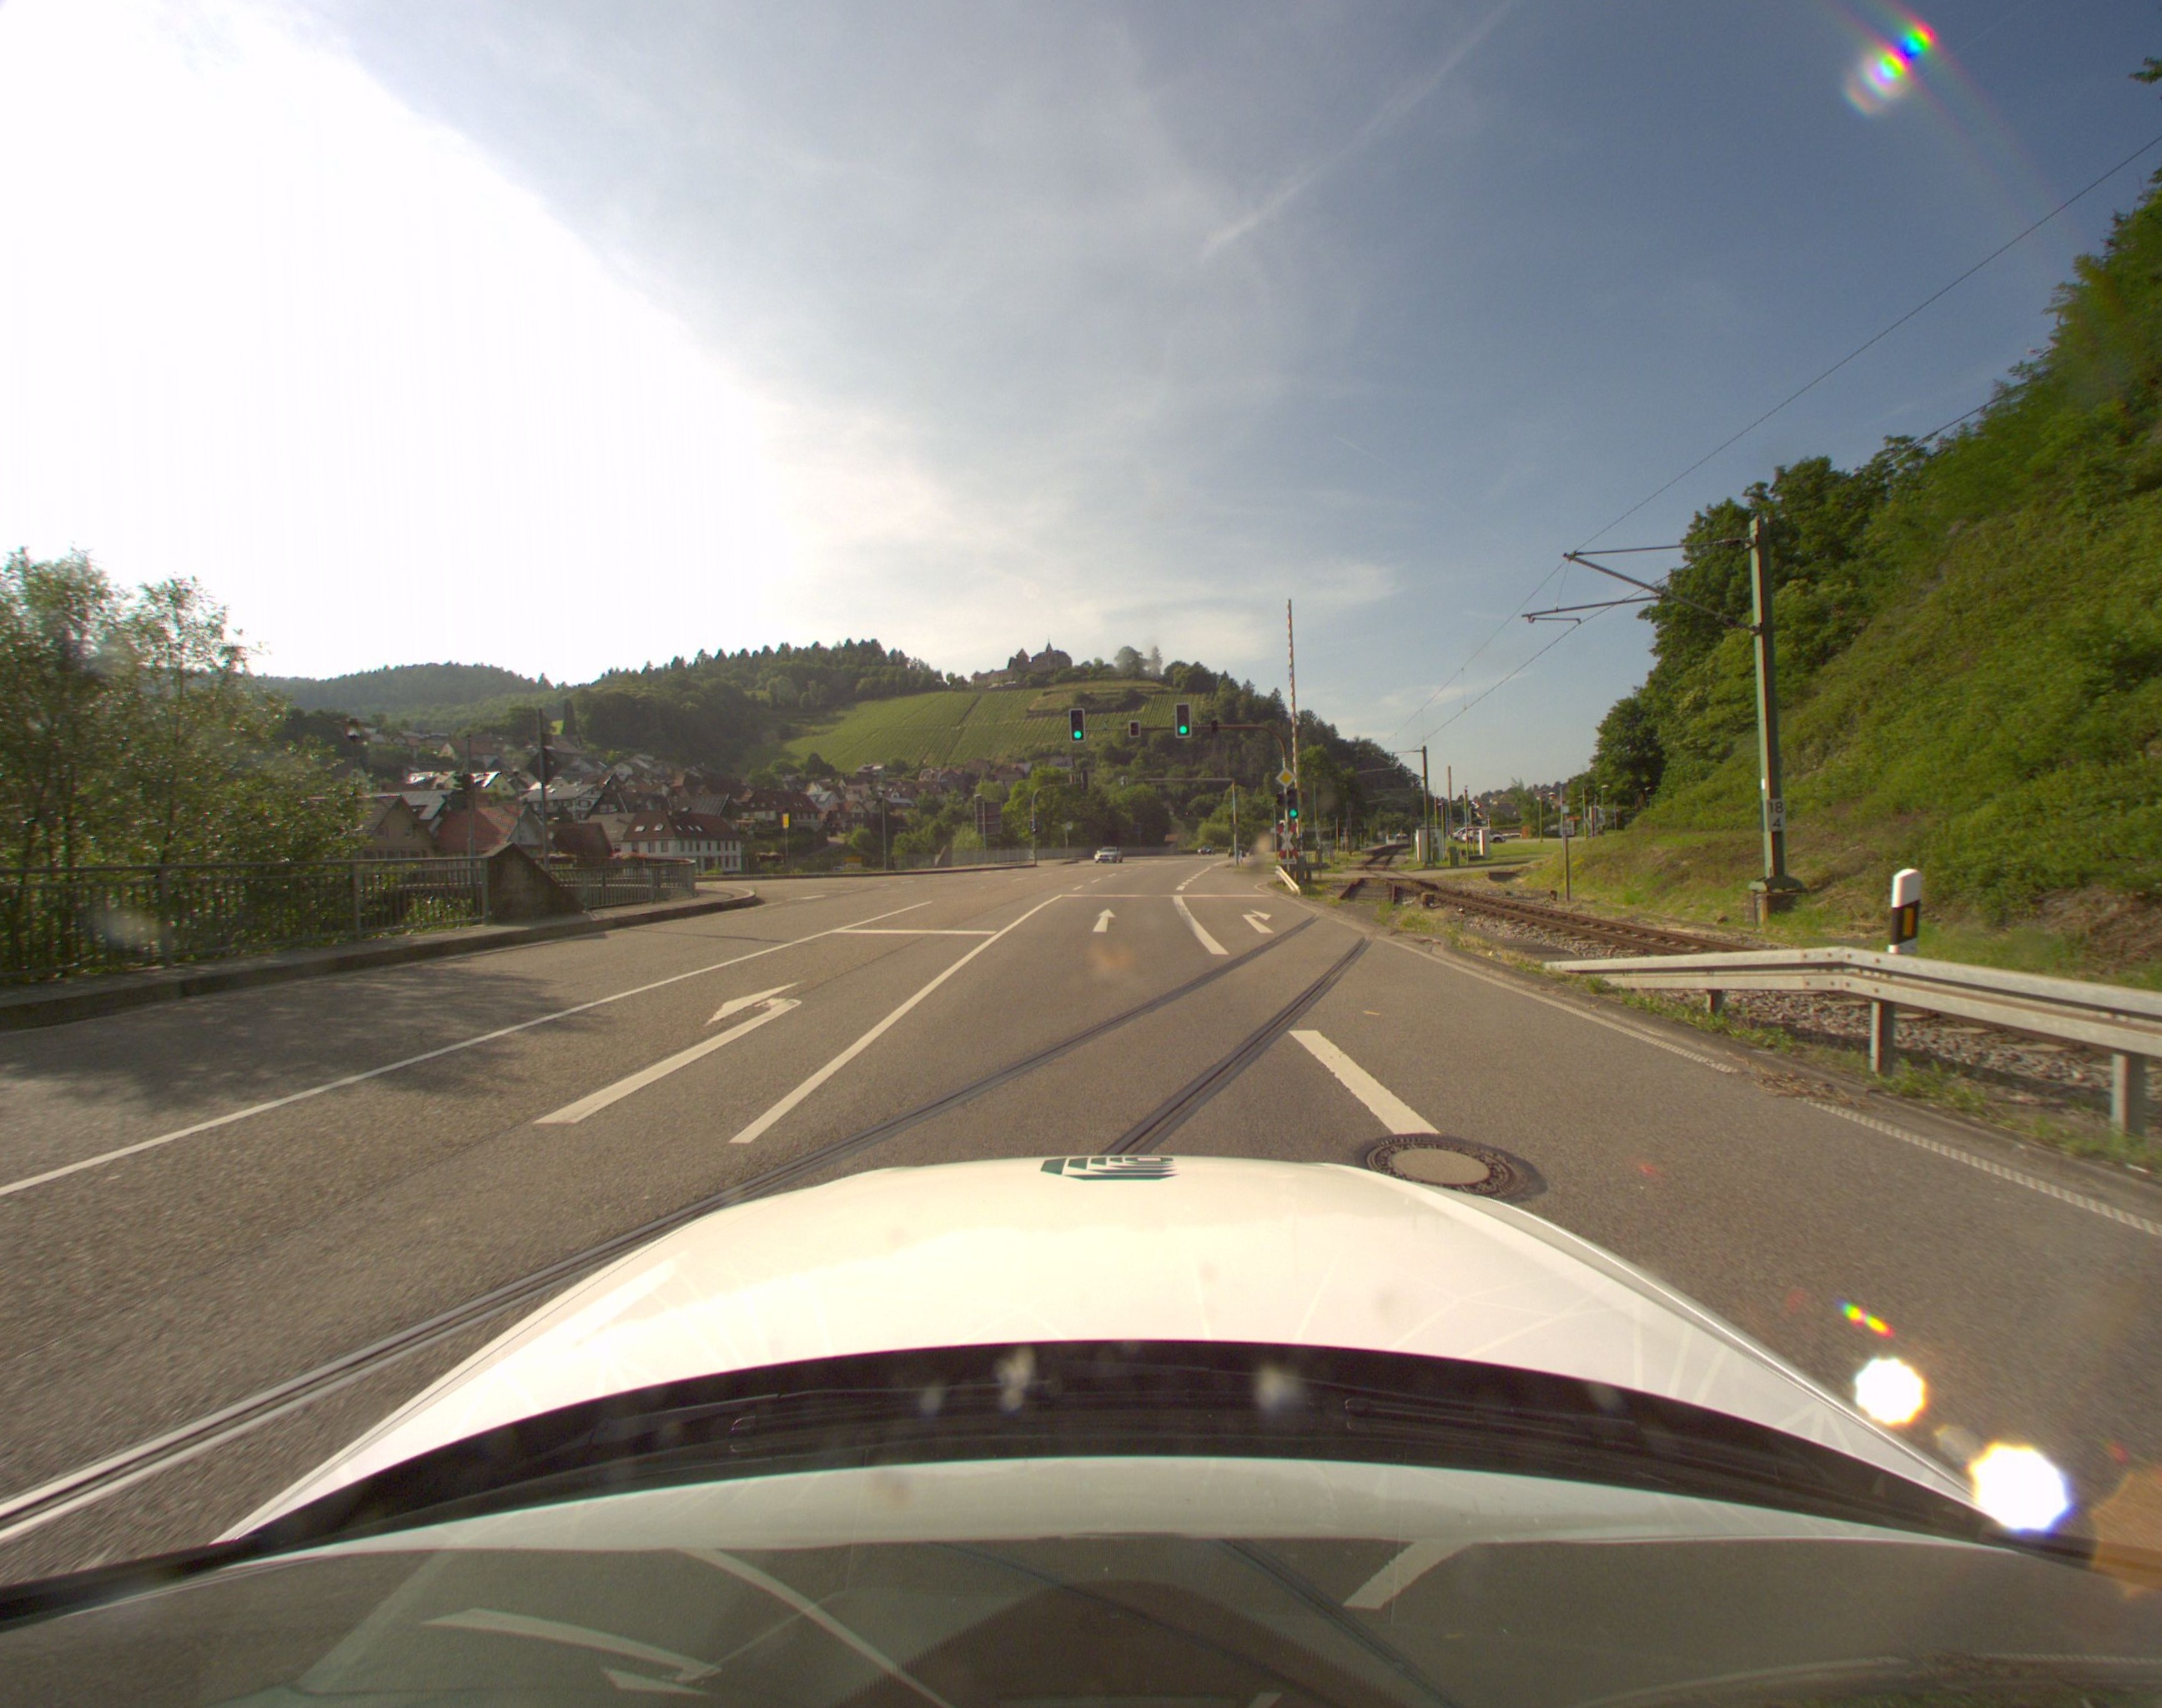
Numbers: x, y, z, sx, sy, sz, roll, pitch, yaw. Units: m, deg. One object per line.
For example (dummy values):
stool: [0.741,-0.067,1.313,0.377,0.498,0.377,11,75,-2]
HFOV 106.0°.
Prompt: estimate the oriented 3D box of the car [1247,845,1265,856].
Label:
car: [24.763,-0.452,115.189,1.824,1.459,3.732,-3,-1,21]

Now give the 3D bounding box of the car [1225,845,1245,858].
car: [18.084,-0.266,95.694,1.714,1.457,3.427,-3,-1,19]

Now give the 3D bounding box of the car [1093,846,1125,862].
car: [2.337,0.002,67.249,1.632,1.231,4.112,-1,1,17]

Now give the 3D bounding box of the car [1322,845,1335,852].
car: [51.559,-1.216,169.386,1.791,1.408,3.797,-3,-1,30]

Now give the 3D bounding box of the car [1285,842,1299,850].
car: [38.140,-1.431,146.958,1.790,1.453,3.668,-3,-1,25]

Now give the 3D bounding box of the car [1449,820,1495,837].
car: [47.927,-3.150,99.896,4.908,1.943,2.153,-1,0,22]

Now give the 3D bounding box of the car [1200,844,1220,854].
car: [18.752,-0.782,118.178,1.755,1.377,4.670,1,1,23]

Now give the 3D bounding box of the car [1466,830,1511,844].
car: [42.157,-1.741,84.304,4.060,1.398,1.819,-1,0,22]
